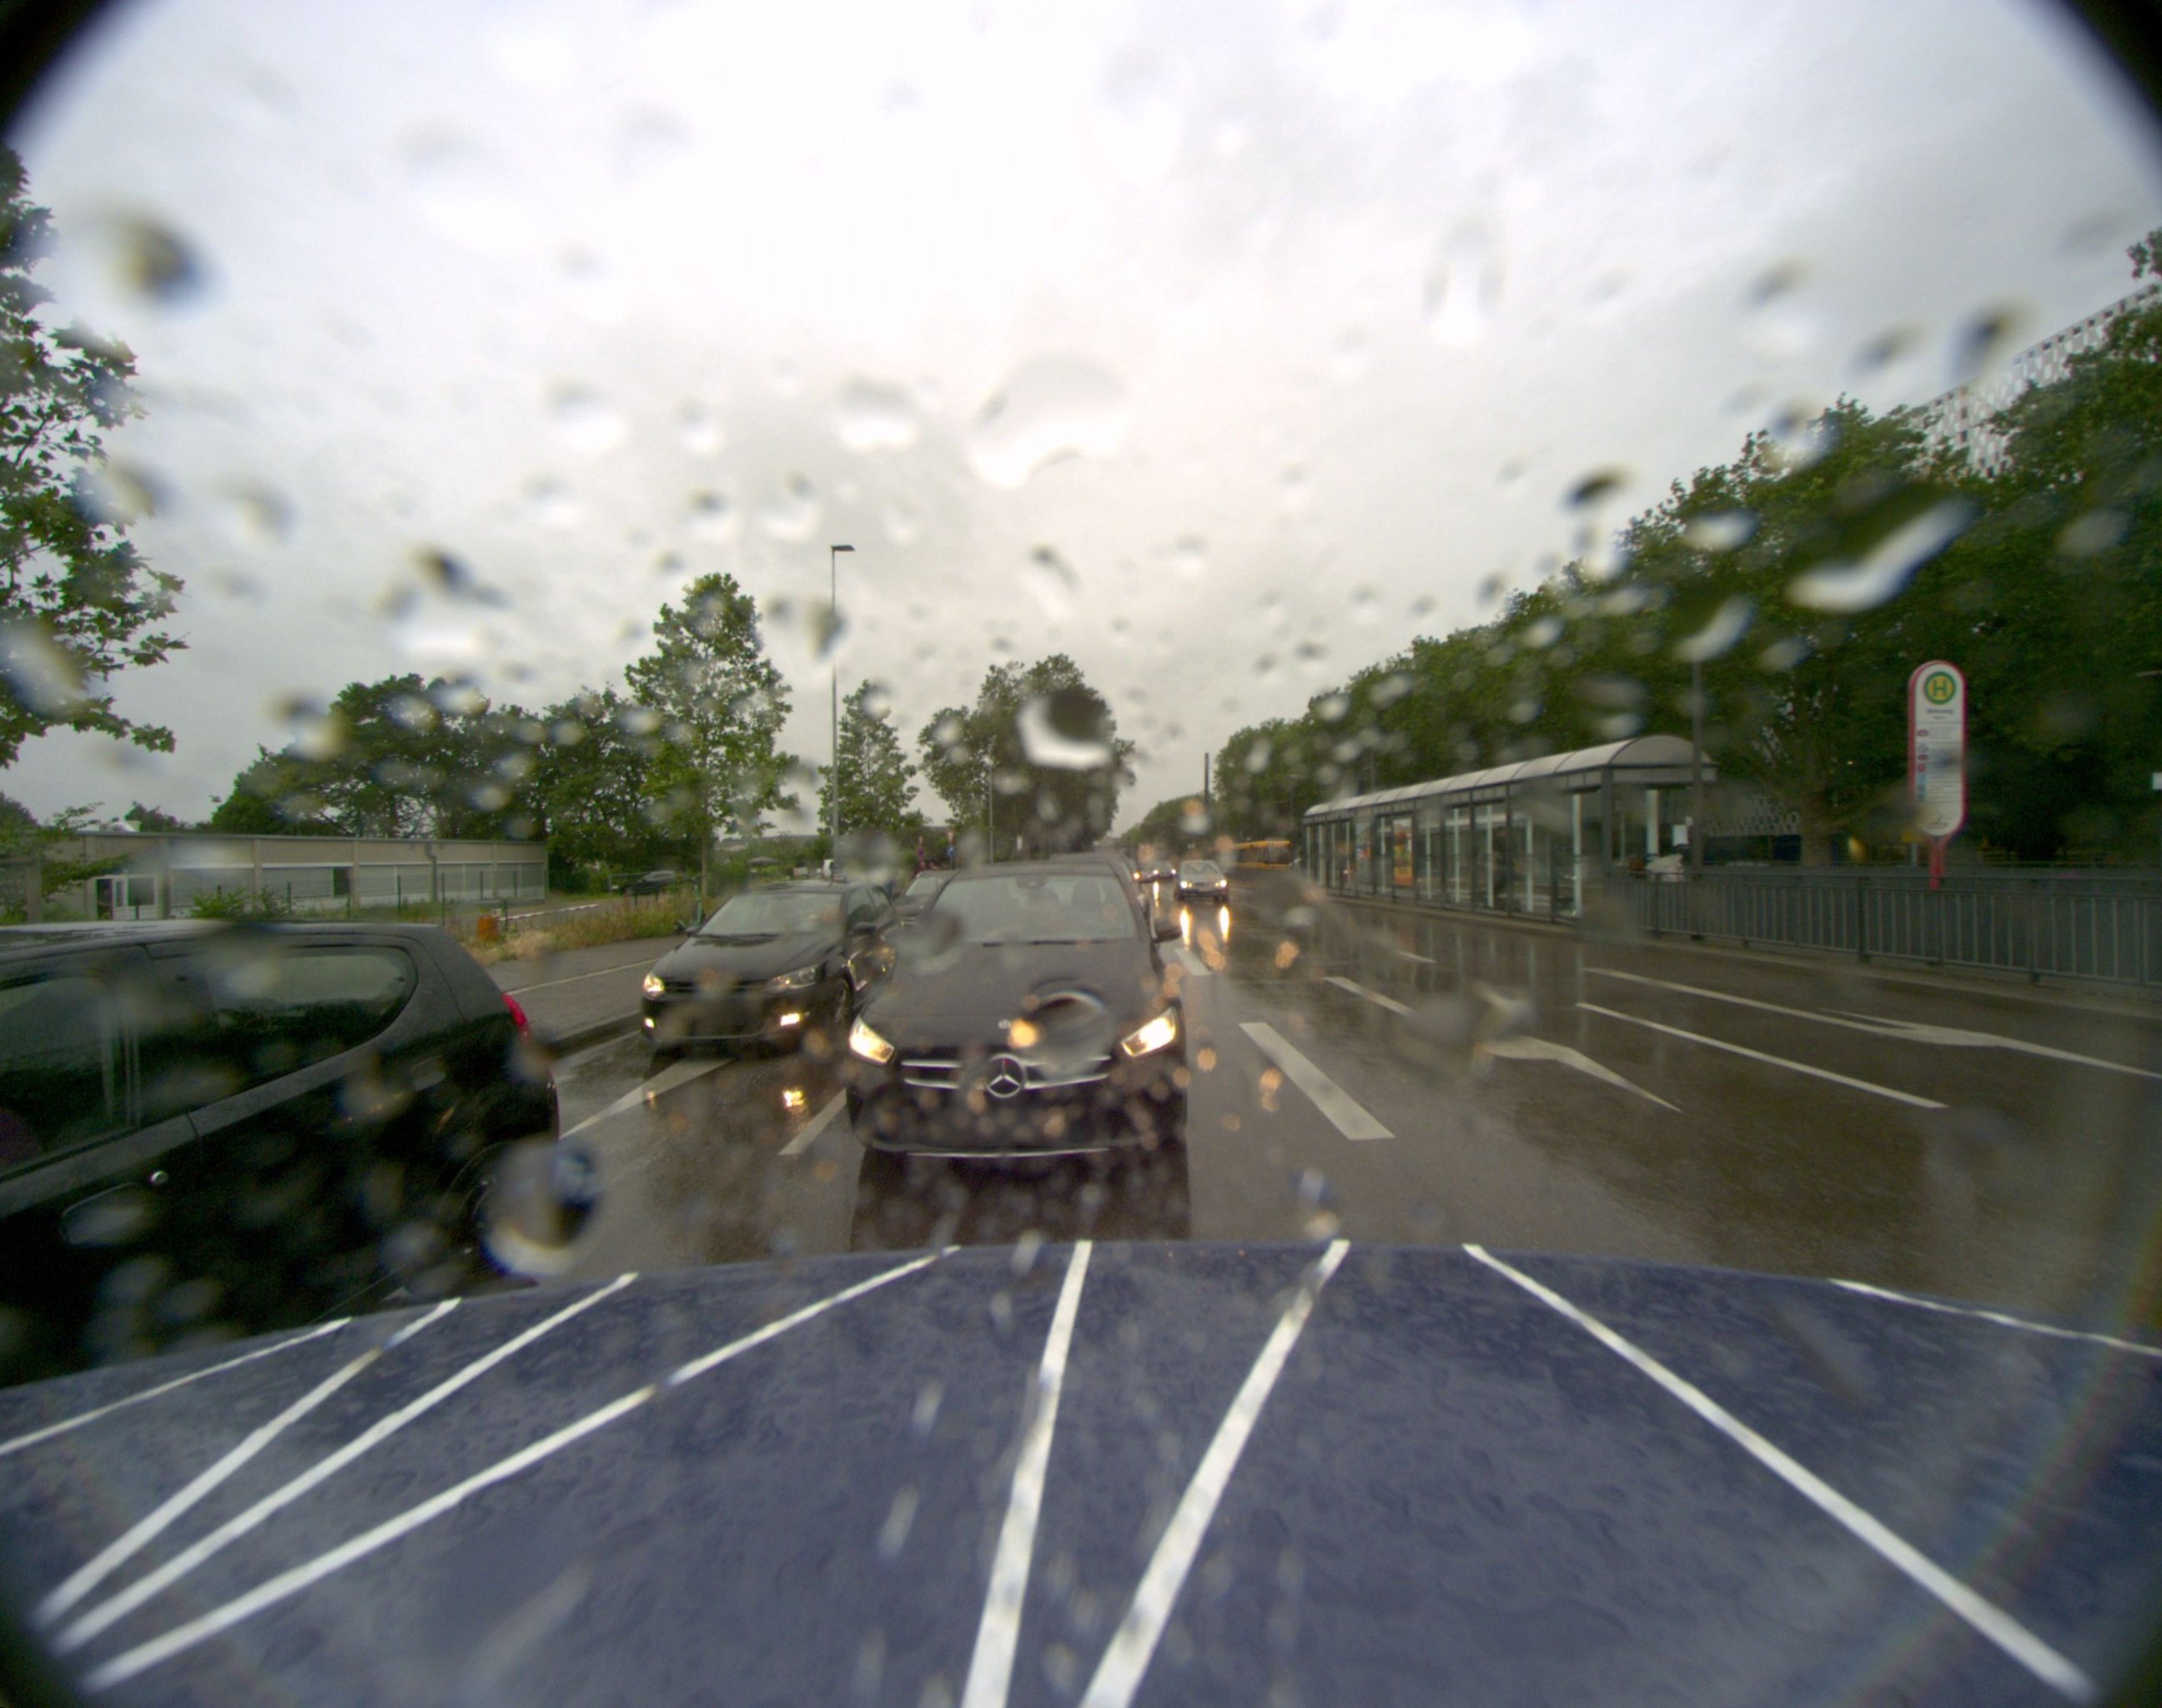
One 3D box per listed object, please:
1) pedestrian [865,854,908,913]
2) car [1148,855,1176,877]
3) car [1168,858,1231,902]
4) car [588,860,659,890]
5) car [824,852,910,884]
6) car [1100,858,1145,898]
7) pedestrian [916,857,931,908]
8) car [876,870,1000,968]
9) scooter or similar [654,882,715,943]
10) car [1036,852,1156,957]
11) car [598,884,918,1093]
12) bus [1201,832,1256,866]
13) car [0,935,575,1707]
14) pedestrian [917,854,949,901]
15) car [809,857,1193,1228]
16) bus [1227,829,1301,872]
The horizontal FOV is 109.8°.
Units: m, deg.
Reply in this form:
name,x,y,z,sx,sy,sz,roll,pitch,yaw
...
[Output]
name,x,y,z,sx,sy,sz,roll,pitch,yaw
pedestrian,-5.915,0.889,23.186,1.082,1.746,0.969,0,1,0
car,6.120,0.873,57.602,1.775,1.492,4.597,-2,1,2
car,4.344,0.900,28.456,1.766,1.390,4.645,-2,0,2
car,-33.961,1.518,56.518,3.996,2.002,2.000,-2,1,2
car,-13.499,0.882,48.106,4.759,1.640,1.999,-4,1,-2
car,1.852,1.042,34.978,1.794,1.597,3.999,-2,1,0
pedestrian,-5.190,0.922,25.062,0.401,1.652,0.441,1,1,0
car,-2.752,1.206,15.445,1.698,1.565,3.813,-2,1,1
scooter or similar,-8.210,1.182,15.806,0.381,1.123,1.777,0,1,-1
car,0.204,0.722,12.508,1.633,1.420,3.624,-2,0,0
car,-2.874,1.110,7.662,1.633,1.420,3.624,-2,0,0
bus,16.035,-0.551,83.970,2.938,3.310,15.060,-2,1,-1
car,-3.001,1.079,1.427,1.633,1.420,3.624,-2,0,0
pedestrian,-5.551,0.871,28.486,1.025,1.698,0.891,1,1,0
car,-0.335,0.870,5.542,1.690,1.578,4.163,-2,1,1
bus,16.236,-0.365,68.889,2.938,3.310,15.060,-2,1,0
